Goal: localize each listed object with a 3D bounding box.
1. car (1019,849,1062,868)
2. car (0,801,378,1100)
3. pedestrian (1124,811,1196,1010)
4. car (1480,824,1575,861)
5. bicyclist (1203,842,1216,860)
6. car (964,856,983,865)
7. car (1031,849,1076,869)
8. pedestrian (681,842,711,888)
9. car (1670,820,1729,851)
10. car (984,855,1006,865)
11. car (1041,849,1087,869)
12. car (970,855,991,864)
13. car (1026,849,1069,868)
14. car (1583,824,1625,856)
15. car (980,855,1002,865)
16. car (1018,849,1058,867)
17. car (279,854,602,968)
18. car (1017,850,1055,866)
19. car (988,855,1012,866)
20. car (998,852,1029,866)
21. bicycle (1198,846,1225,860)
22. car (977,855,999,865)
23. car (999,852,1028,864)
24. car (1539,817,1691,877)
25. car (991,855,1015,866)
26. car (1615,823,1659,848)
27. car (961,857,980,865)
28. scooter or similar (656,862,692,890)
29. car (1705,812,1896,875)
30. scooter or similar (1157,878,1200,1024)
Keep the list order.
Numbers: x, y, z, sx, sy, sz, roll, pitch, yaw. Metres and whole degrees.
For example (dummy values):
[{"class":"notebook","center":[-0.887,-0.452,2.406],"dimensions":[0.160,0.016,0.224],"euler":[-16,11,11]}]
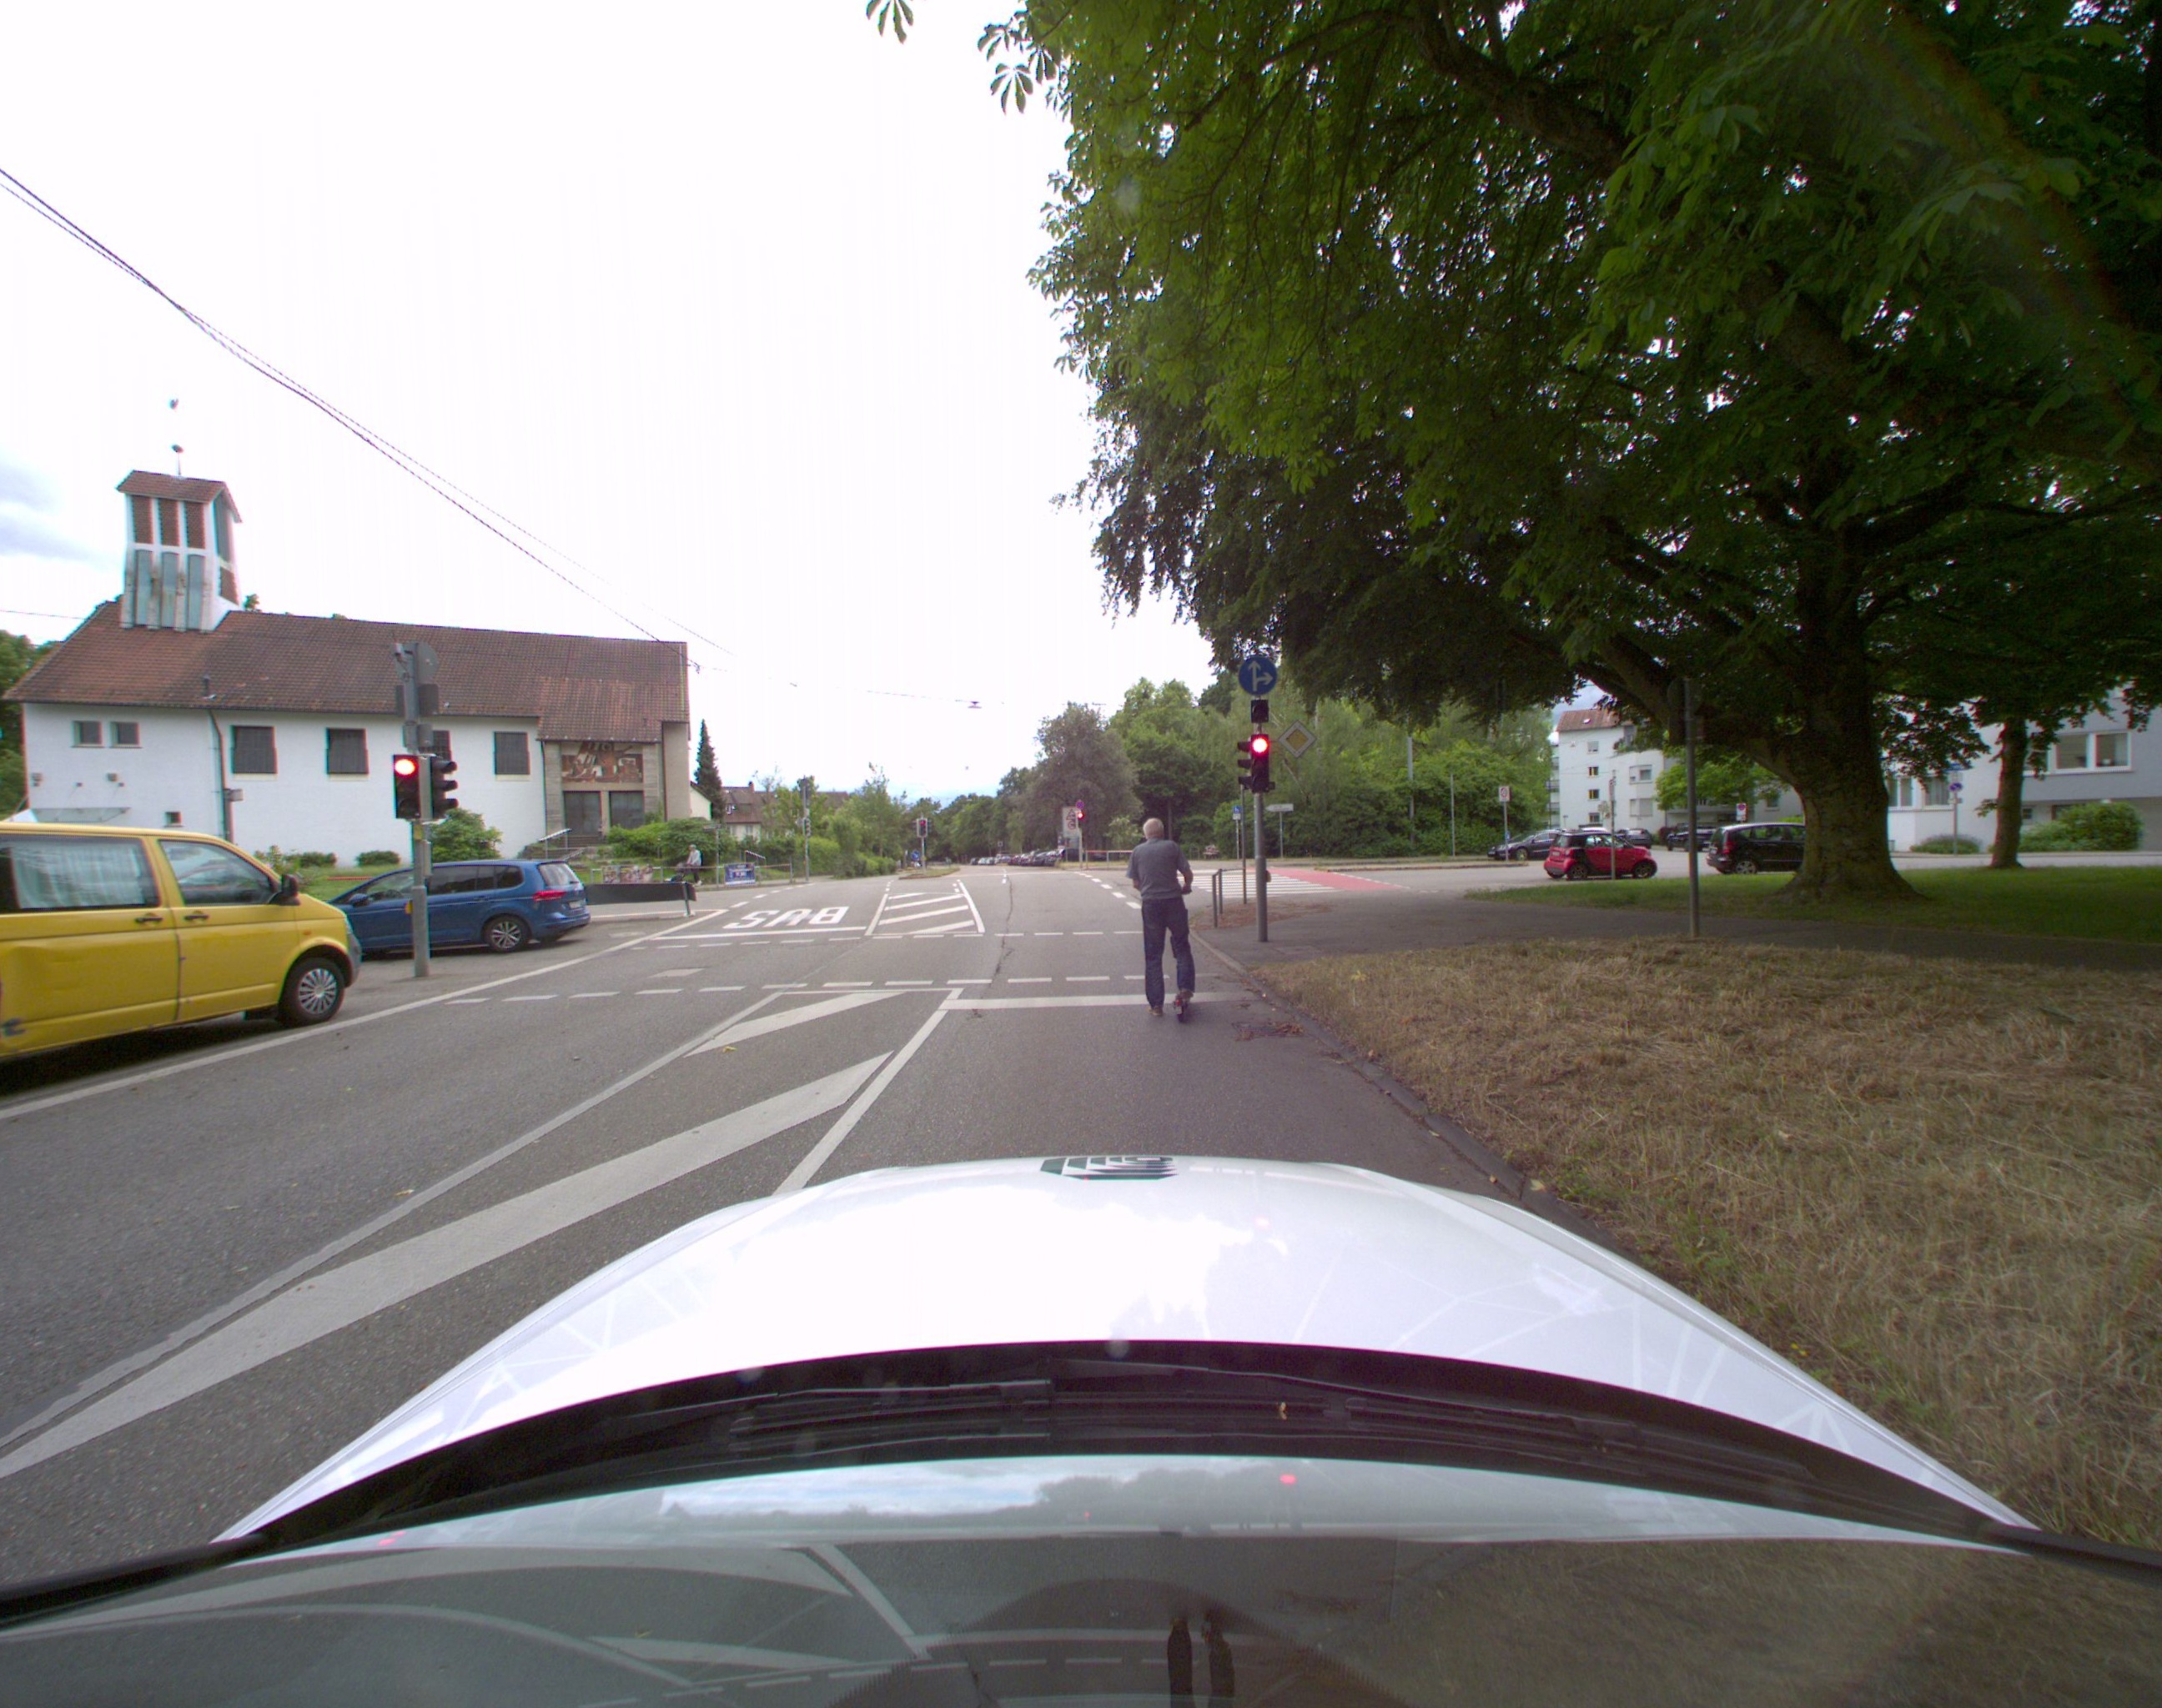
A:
[{"class":"car","center":[-4.050,0.447,81.613],"dimensions":[3.856,1.610,1.716],"euler":[-3,0,-21]},{"class":"car","center":[-8.303,0.682,6.331],"dimensions":[1.880,2.013,4.558],"euler":[-2,0,-5]},{"class":"pedestrian","center":[0.751,0.519,7.666],"dimensions":[0.569,1.813,0.421],"euler":[-2,0,10]},{"class":"car","center":[21.108,-0.562,38.592],"dimensions":[3.498,1.530,1.732],"euler":[-3,0,8]},{"class":"bicyclist","center":[8.974,-0.185,56.883],"dimensions":[0.680,1.248,0.490],"euler":[0,-1,-27]},{"class":"car","center":[-23.317,1.445,176.438],"dimensions":[3.856,1.610,1.716],"euler":[-3,0,-21]},{"class":"car","center":[-2.593,0.461,76.998],"dimensions":[3.857,1.610,1.715],"euler":[-3,1,-22]},{"class":"pedestrian","center":[-16.105,0.445,34.056],"dimensions":[0.567,1.862,0.892],"euler":[-2,0,28]},{"class":"car","center":[35.566,-1.071,46.917],"dimensions":[1.707,1.610,3.875],"euler":[-3,1,22]},{"class":"car","center":[-16.346,1.170,154.692],"dimensions":[3.856,1.610,1.716],"euler":[-3,0,-21]},{"class":"car","center":[-1.583,0.434,75.001],"dimensions":[3.854,1.610,1.717],"euler":[-3,0,-19]},{"class":"car","center":[-20.499,1.152,166.571],"dimensions":[3.856,1.610,1.716],"euler":[-3,0,-21]},{"class":"car","center":[-3.280,0.471,79.558],"dimensions":[3.856,1.610,1.716],"euler":[-3,0,-21]},{"class":"car","center":[28.783,-0.790,44.883],"dimensions":[1.706,1.610,3.878],"euler":[-3,1,30]},{"class":"car","center":[-17.323,1.133,156.850],"dimensions":[3.856,1.610,1.716],"euler":[-3,0,-21]},{"class":"car","center":[-4.601,0.424,86.944],"dimensions":[3.856,1.610,1.716],"euler":[-3,0,-21]},{"class":"car","center":[-11.068,0.915,14.417],"dimensions":[3.992,1.610,1.810],"euler":[-3,0,-14]},{"class":"car","center":[-4.934,0.430,89.366],"dimensions":[3.856,1.610,1.716],"euler":[-3,0,-21]},{"class":"car","center":[-14.330,1.141,143.331],"dimensions":[3.856,1.610,1.716],"euler":[-3,0,-21]},{"class":"car","center":[-9.052,0.680,109.341],"dimensions":[3.856,1.610,1.716],"euler":[-3,0,-21]},{"class":"bicycle","center":[9.107,-0.038,56.955],"dimensions":[1.930,0.959,0.490],"euler":[0,0,-27]},{"class":"car","center":[-18.149,1.138,159.443],"dimensions":[3.856,1.610,1.716],"euler":[-3,0,-21]},{"class":"car","center":[-10.125,0.633,122.345],"dimensions":[3.856,1.610,1.716],"euler":[-3,0,-21]},{"class":"car","center":[16.522,-0.210,25.349],"dimensions":[3.499,1.610,1.732],"euler":[-3,0,7]},{"class":"car","center":[-13.390,1.133,139.631],"dimensions":[3.856,1.610,1.716],"euler":[-3,0,-21]},{"class":"car","center":[38.952,-1.279,57.128],"dimensions":[1.707,1.610,3.875],"euler":[-3,1,22]},{"class":"car","center":[-24.231,1.537,178.798],"dimensions":[3.856,1.610,1.716],"euler":[-3,0,-21]},{"class":"scooter or similar","center":[-16.567,0.873,33.169],"dimensions":[0.570,1.081,1.118],"euler":[-2,0,27]},{"class":"car","center":[20.828,-0.298,23.791],"dimensions":[3.805,1.610,1.739],"euler":[-3,1,27]},{"class":"scooter or similar","center":[0.914,0.840,7.485],"dimensions":[0.280,1.178,1.180],"euler":[-2,0,10]}]
